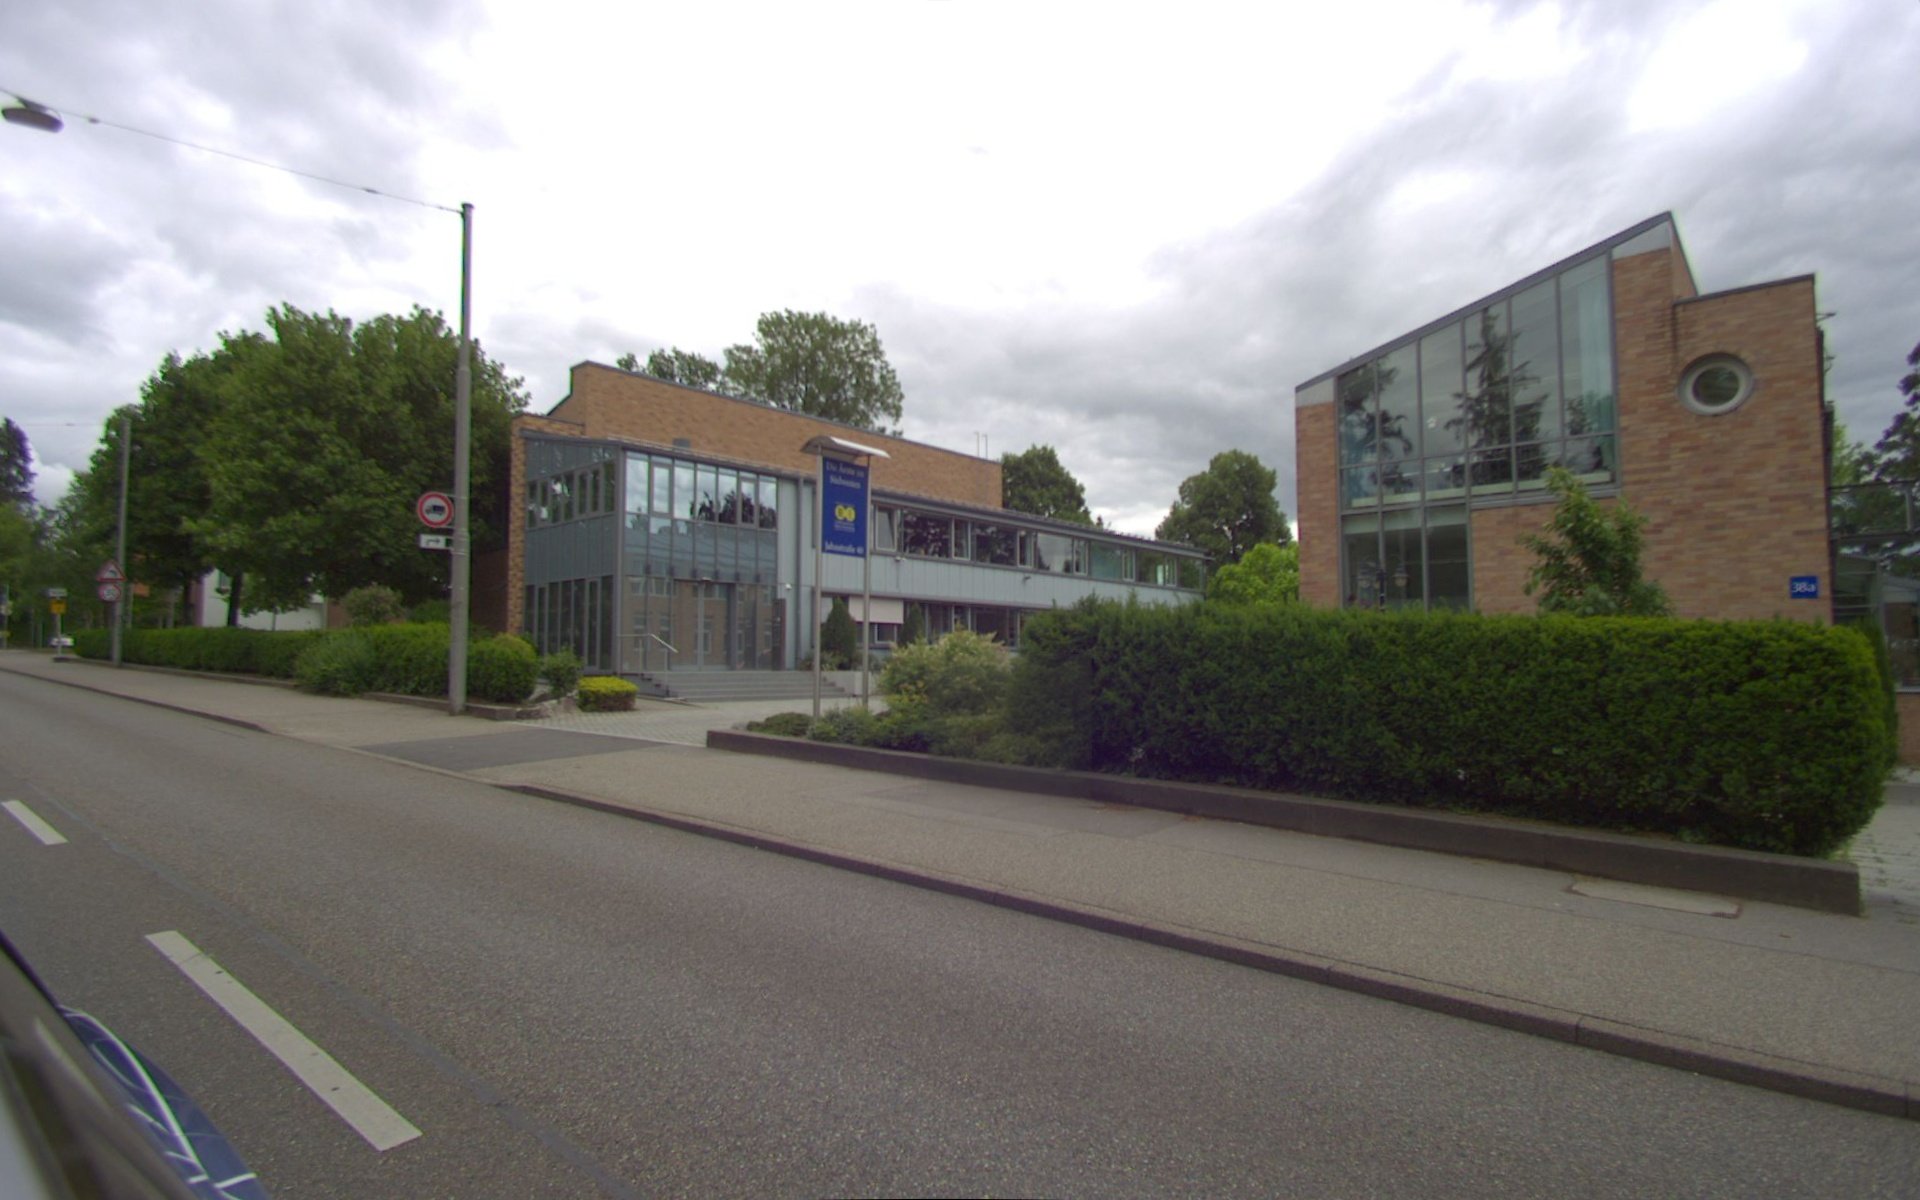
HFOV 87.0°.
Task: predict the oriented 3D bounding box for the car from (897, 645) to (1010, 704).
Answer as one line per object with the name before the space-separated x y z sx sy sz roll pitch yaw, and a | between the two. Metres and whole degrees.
car | -0.129 2.004 27.901 1.650 1.503 3.422 -2 -3 29

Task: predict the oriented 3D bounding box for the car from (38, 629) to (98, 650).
car | -74.884 3.364 85.033 1.967 1.625 4.009 2 -4 -11

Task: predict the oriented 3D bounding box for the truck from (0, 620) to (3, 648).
truck | -78.019 2.473 77.489 6.610 2.205 2.534 5 -4 -39
